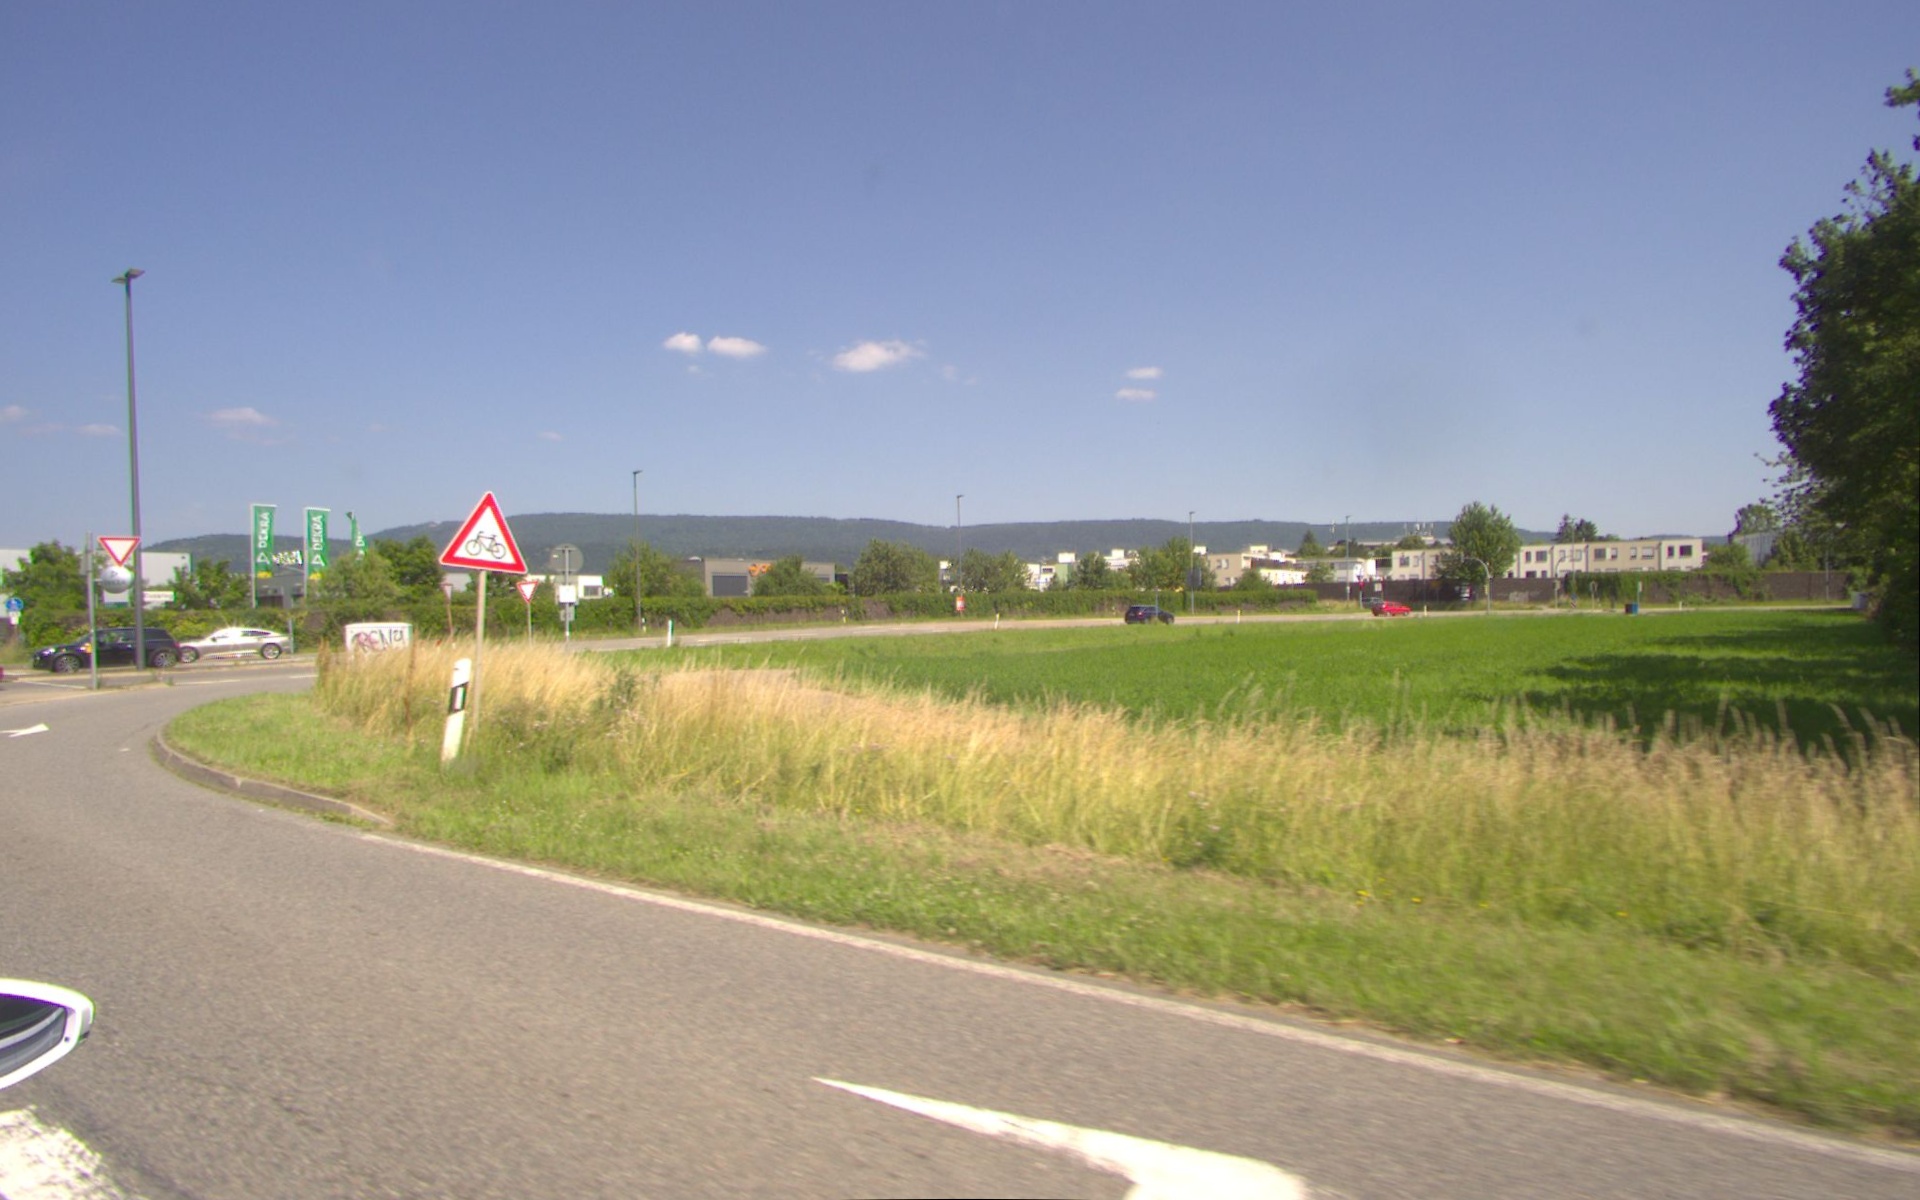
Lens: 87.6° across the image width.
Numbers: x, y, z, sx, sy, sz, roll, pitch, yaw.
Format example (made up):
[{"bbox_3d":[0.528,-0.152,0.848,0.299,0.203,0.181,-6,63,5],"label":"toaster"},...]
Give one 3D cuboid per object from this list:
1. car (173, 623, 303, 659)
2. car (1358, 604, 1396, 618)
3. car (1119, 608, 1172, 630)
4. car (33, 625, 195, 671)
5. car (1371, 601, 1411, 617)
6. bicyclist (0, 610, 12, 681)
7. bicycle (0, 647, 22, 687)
[{"bbox_3d":[-30.583,1.707,42.459,4.330,1.344,1.790,-1,0,-41],"label":"car"},{"bbox_3d":[48.211,1.261,115.662,3.932,1.567,1.770,-1,0,-21],"label":"car"},{"bbox_3d":[14.546,1.474,78.536,4.297,1.638,1.980,-1,0,-44],"label":"car"},{"bbox_3d":[-28.134,1.546,33.375,1.787,1.344,3.963,-1,0,43],"label":"car"},{"bbox_3d":[42.975,0.916,99.753,3.945,1.567,1.764,-1,0,-33],"label":"car"},{"bbox_3d":[-24.579,1.156,25.226,0.797,1.795,0.800,0,1,32],"label":"bicyclist"},{"bbox_3d":[-24.689,1.678,25.311,2.740,0.927,0.760,-1,0,32],"label":"bicycle"}]
